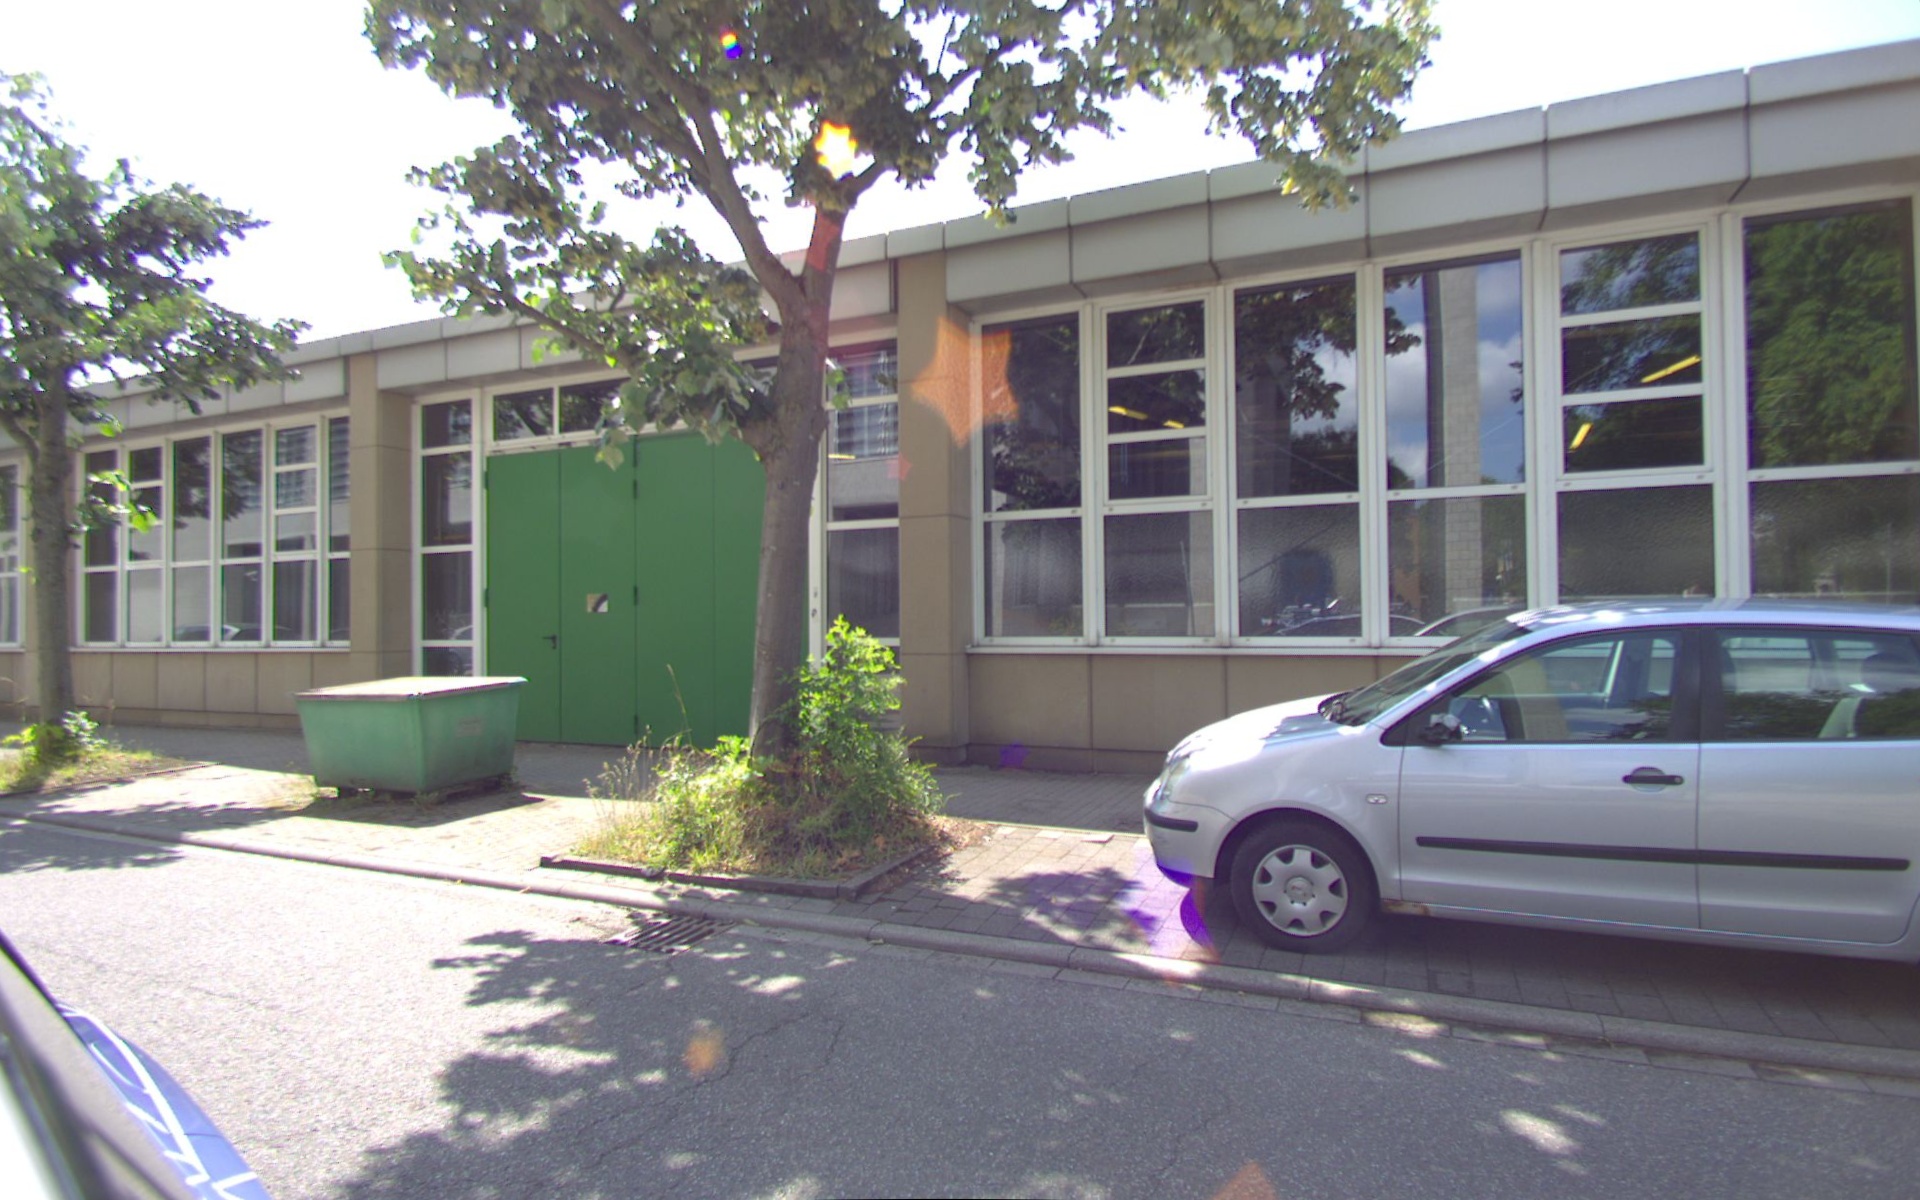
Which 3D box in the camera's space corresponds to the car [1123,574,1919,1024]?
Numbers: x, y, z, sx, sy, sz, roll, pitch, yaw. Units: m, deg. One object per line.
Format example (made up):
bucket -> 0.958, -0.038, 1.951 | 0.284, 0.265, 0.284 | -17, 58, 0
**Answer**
car -> 2.775, 0.672, 4.446 | 3.756, 1.487, 1.640 | -2, 0, 24
